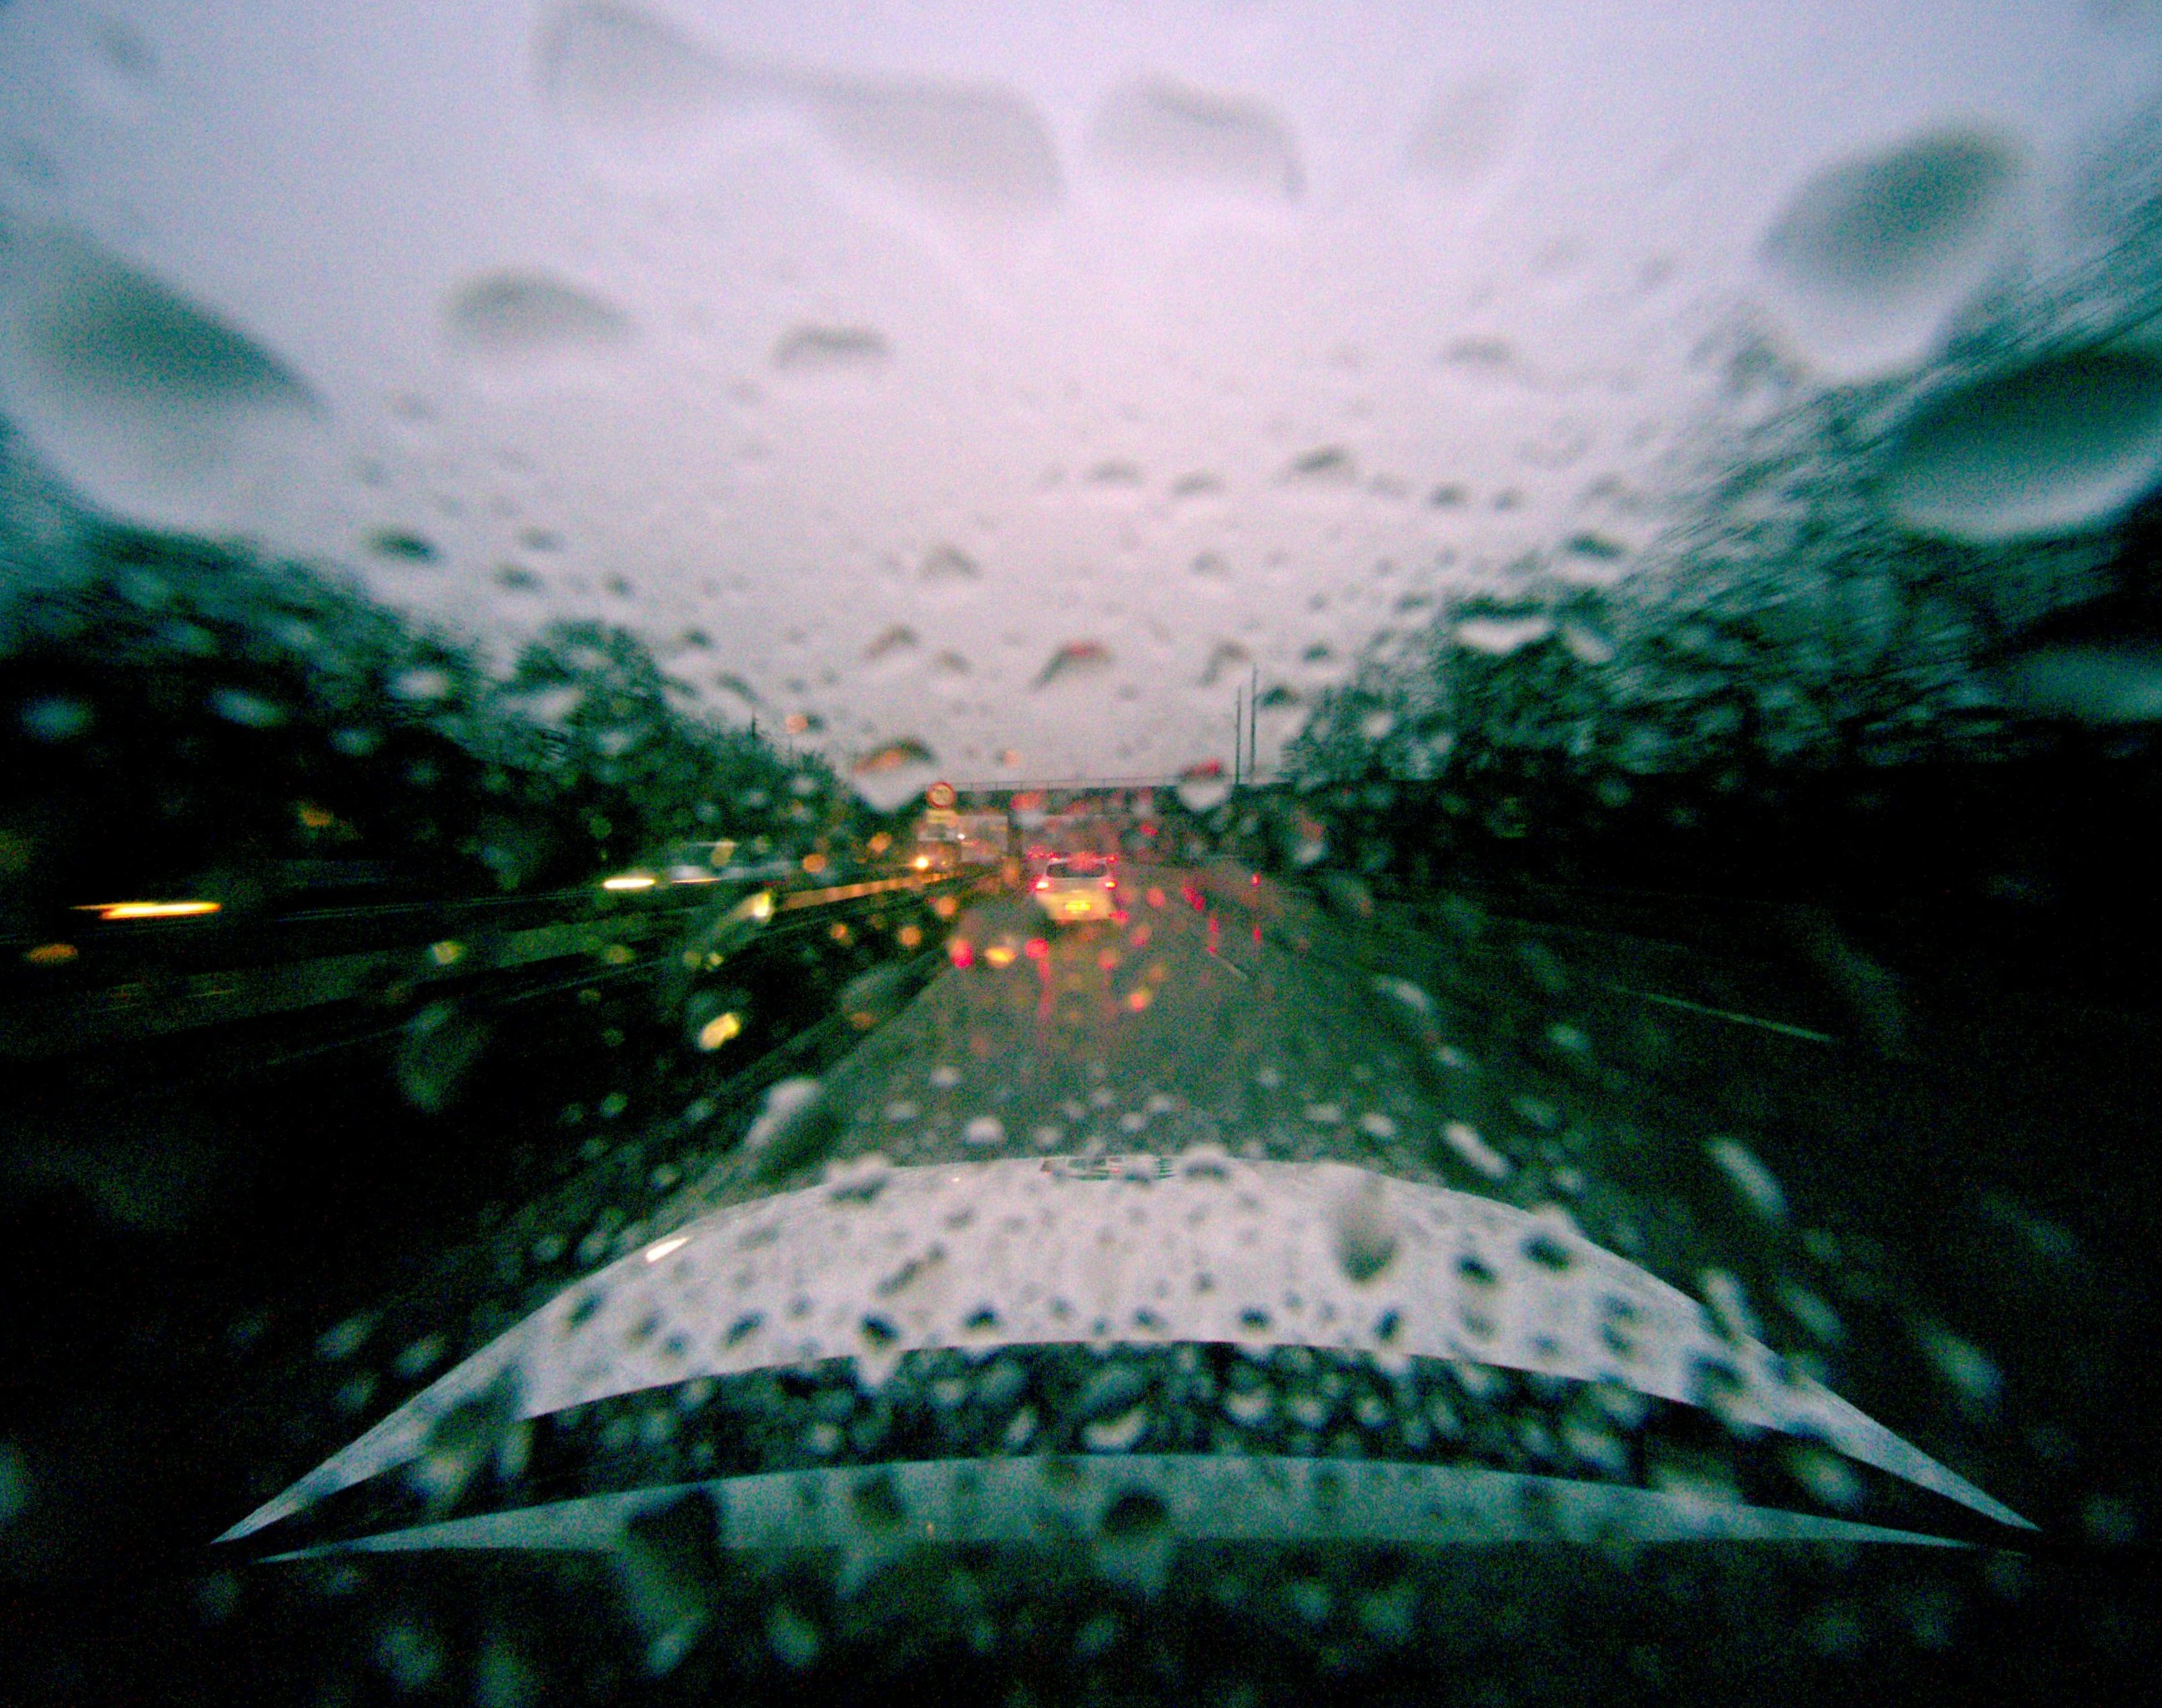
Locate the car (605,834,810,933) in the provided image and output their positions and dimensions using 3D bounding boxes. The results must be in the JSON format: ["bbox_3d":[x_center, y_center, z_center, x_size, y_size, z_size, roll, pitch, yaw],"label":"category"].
[{"bbox_3d":[-7.779,0.594,17.689,1.980,1.830,5.119,1,-1,1],"label":"car"}]

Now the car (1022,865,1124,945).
[{"bbox_3d":[-0.163,1.044,18.234,2.019,1.575,3.998,1,-1,-1],"label":"car"}]

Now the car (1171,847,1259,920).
[{"bbox_3d":[4.005,0.867,24.881,1.928,2.019,3.769,1,-1,-3],"label":"car"}]

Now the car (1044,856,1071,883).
[{"bbox_3d":[-1.886,1.213,63.578,1.989,2.014,3.995,1,-1,-3],"label":"car"}]

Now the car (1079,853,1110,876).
[{"bbox_3d":[1.059,0.913,66.944,1.931,1.546,3.763,-5,-2,-8],"label":"car"}]
